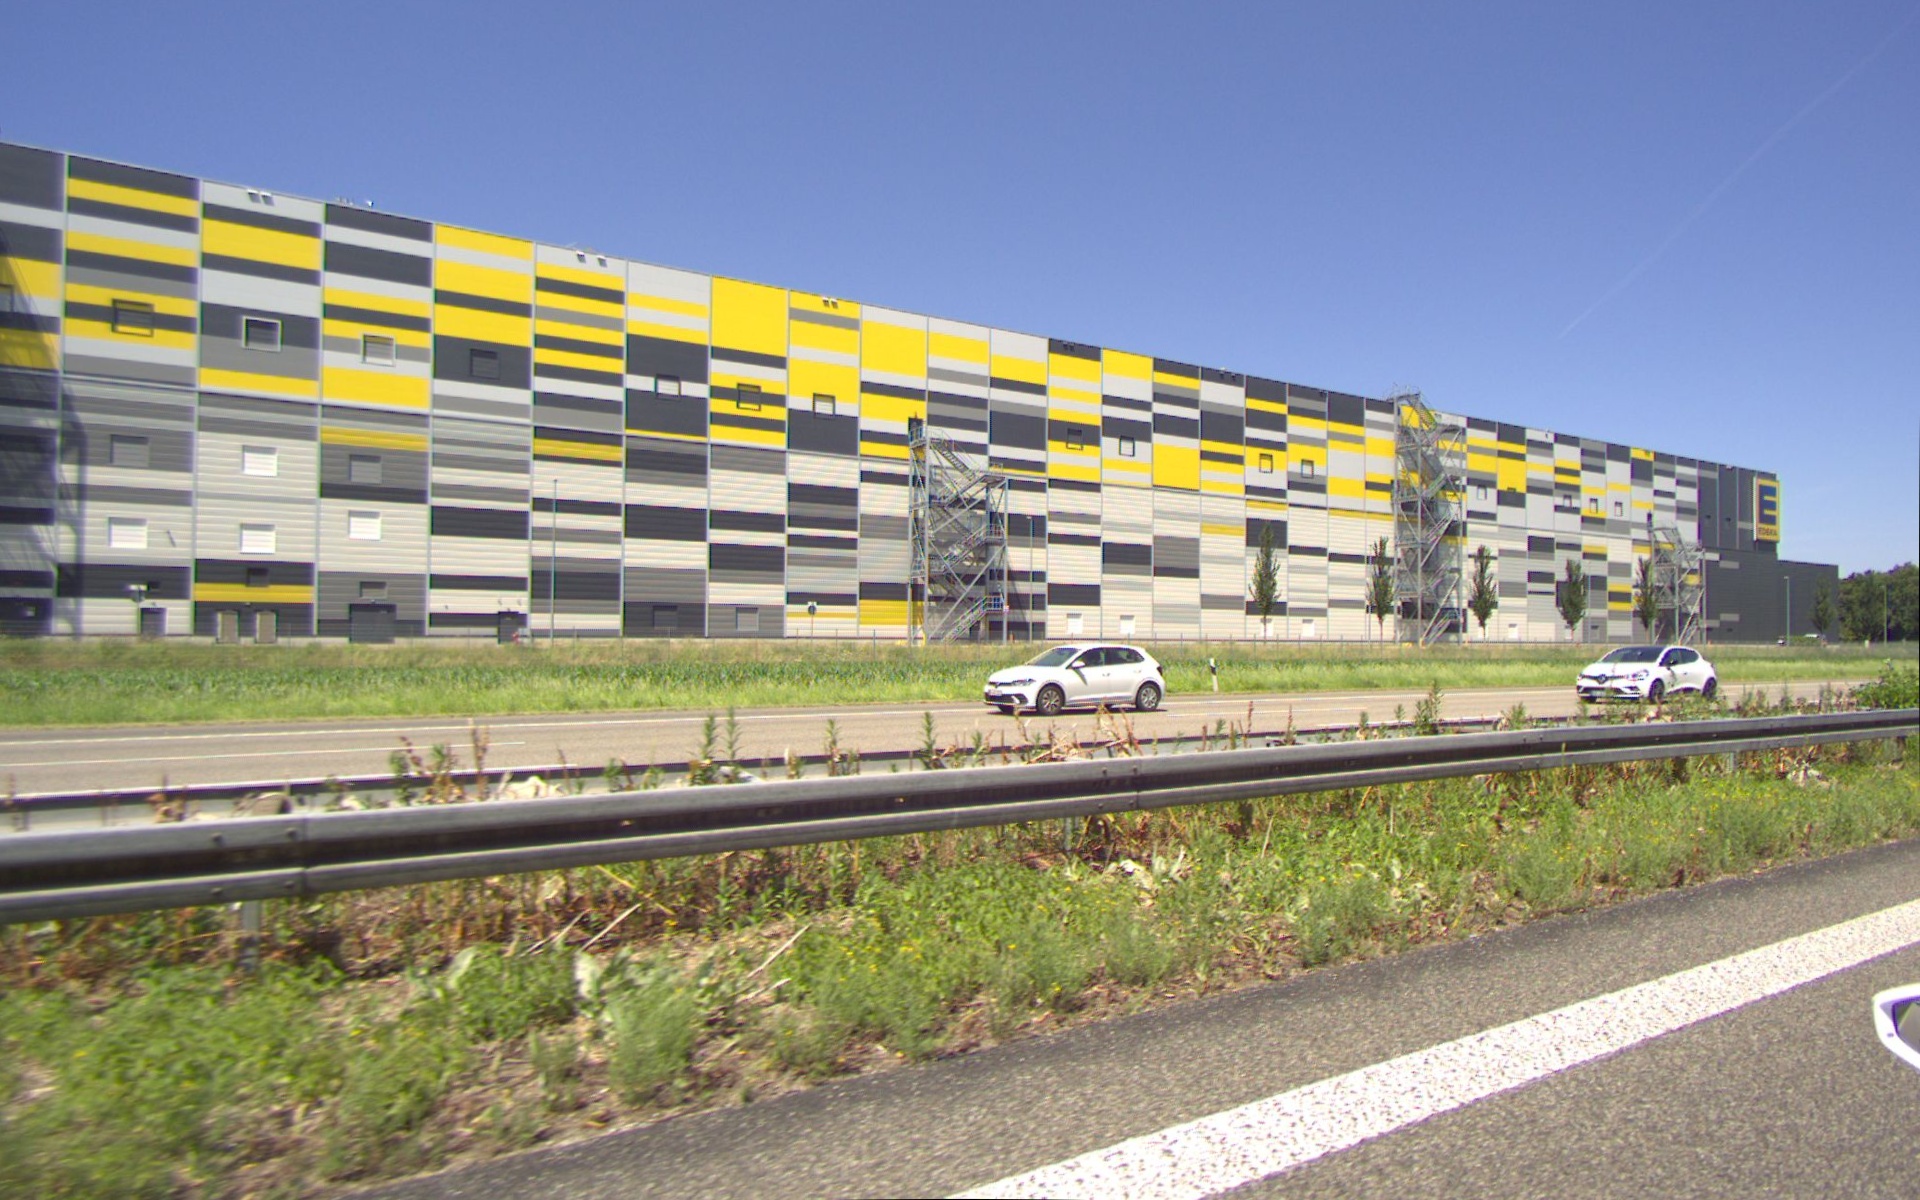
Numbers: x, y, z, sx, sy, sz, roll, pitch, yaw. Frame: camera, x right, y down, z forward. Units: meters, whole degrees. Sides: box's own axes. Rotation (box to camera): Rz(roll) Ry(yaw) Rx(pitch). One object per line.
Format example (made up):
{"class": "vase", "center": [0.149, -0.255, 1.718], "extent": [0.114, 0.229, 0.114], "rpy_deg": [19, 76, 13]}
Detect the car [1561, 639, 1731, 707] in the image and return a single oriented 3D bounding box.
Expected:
{"class": "car", "center": [17.223, 1.784, 25.182], "extent": [4.430, 1.552, 1.791], "rpy_deg": [2, -2, -30]}

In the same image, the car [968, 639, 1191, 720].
{"class": "car", "center": [2.591, 1.619, 21.333], "extent": [4.579, 1.552, 1.791], "rpy_deg": [2, -2, -31]}
